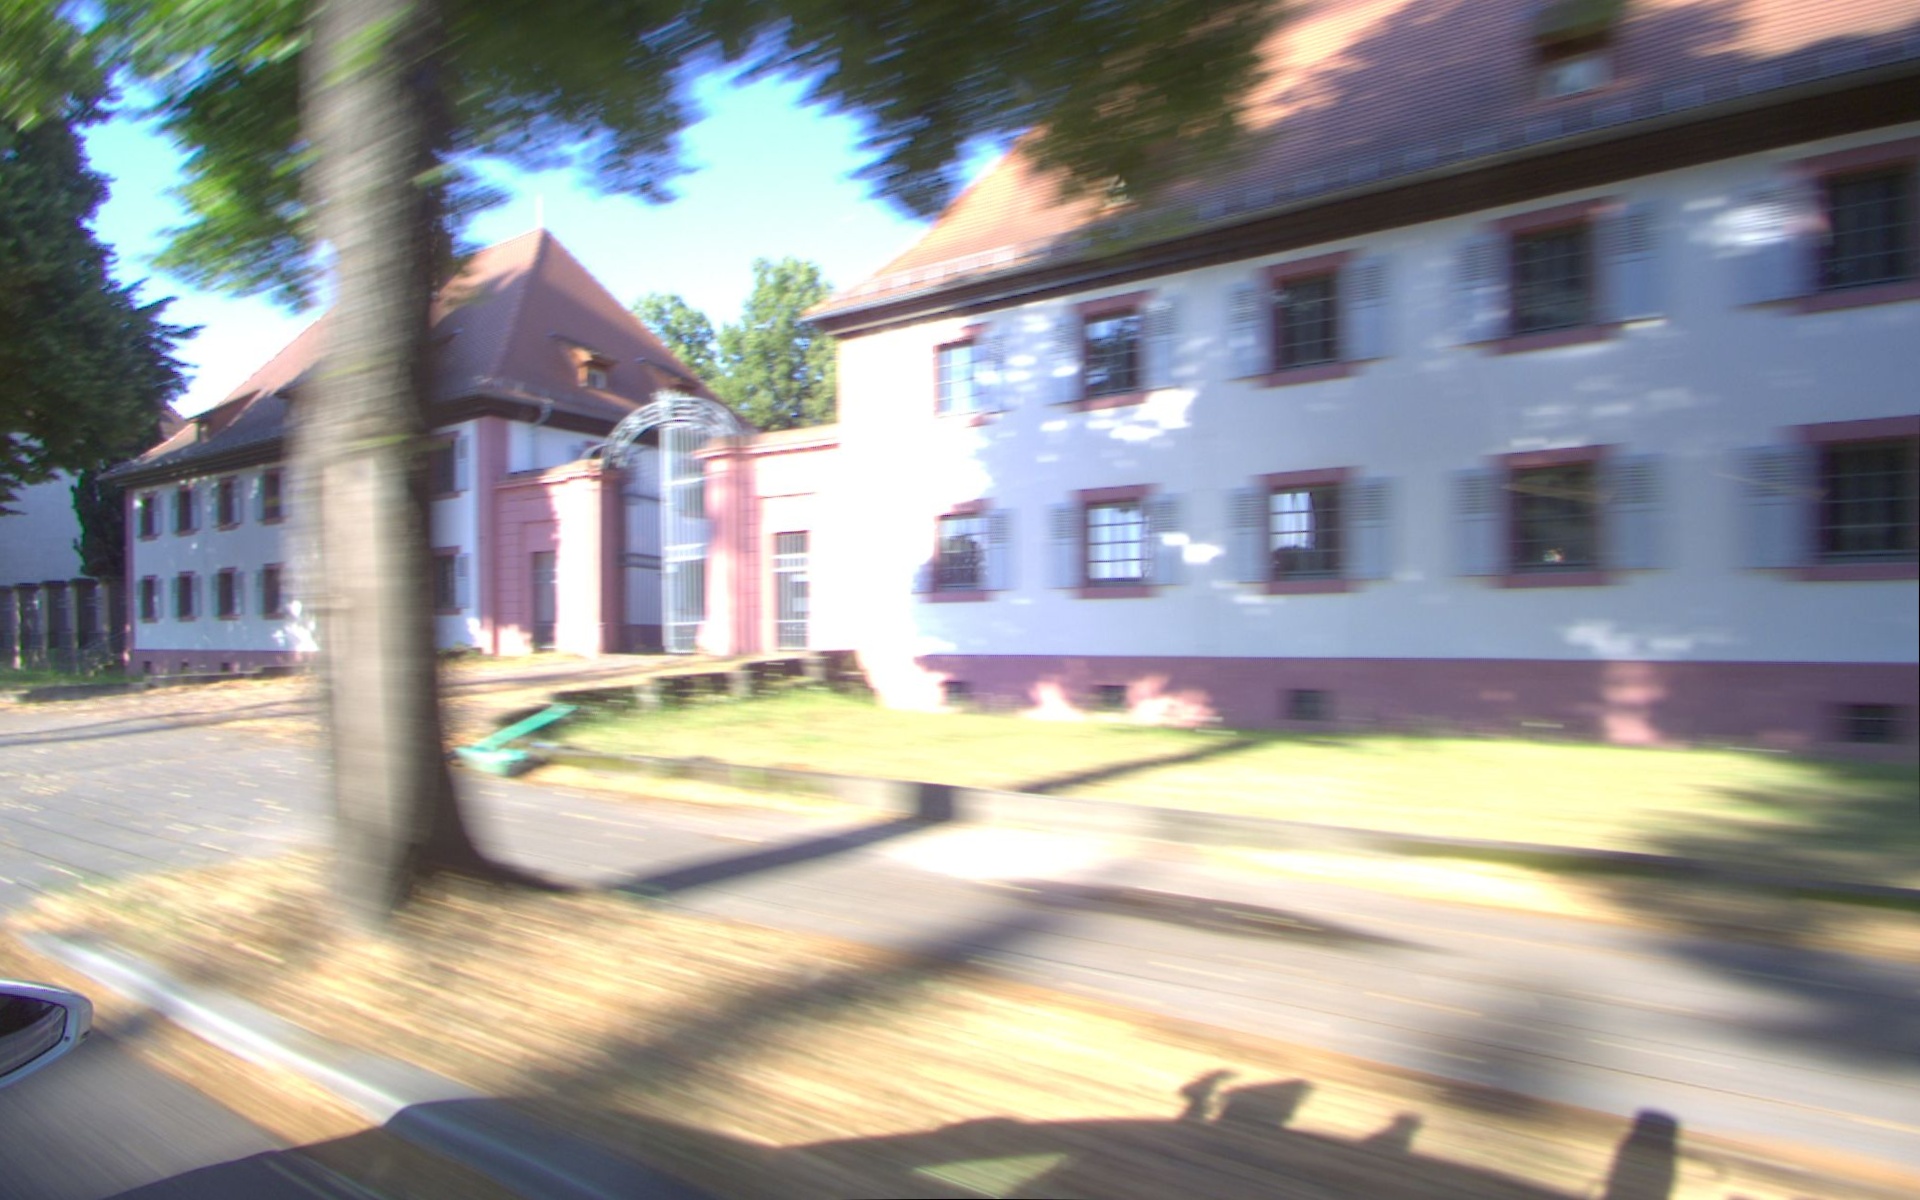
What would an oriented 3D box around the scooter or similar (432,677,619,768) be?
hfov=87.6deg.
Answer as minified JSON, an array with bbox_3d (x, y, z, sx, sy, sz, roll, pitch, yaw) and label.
[{"bbox_3d":[-4.151,1.141,9.622,1.049,0.557,1.220,-1,7,32],"label":"scooter or similar"}]
